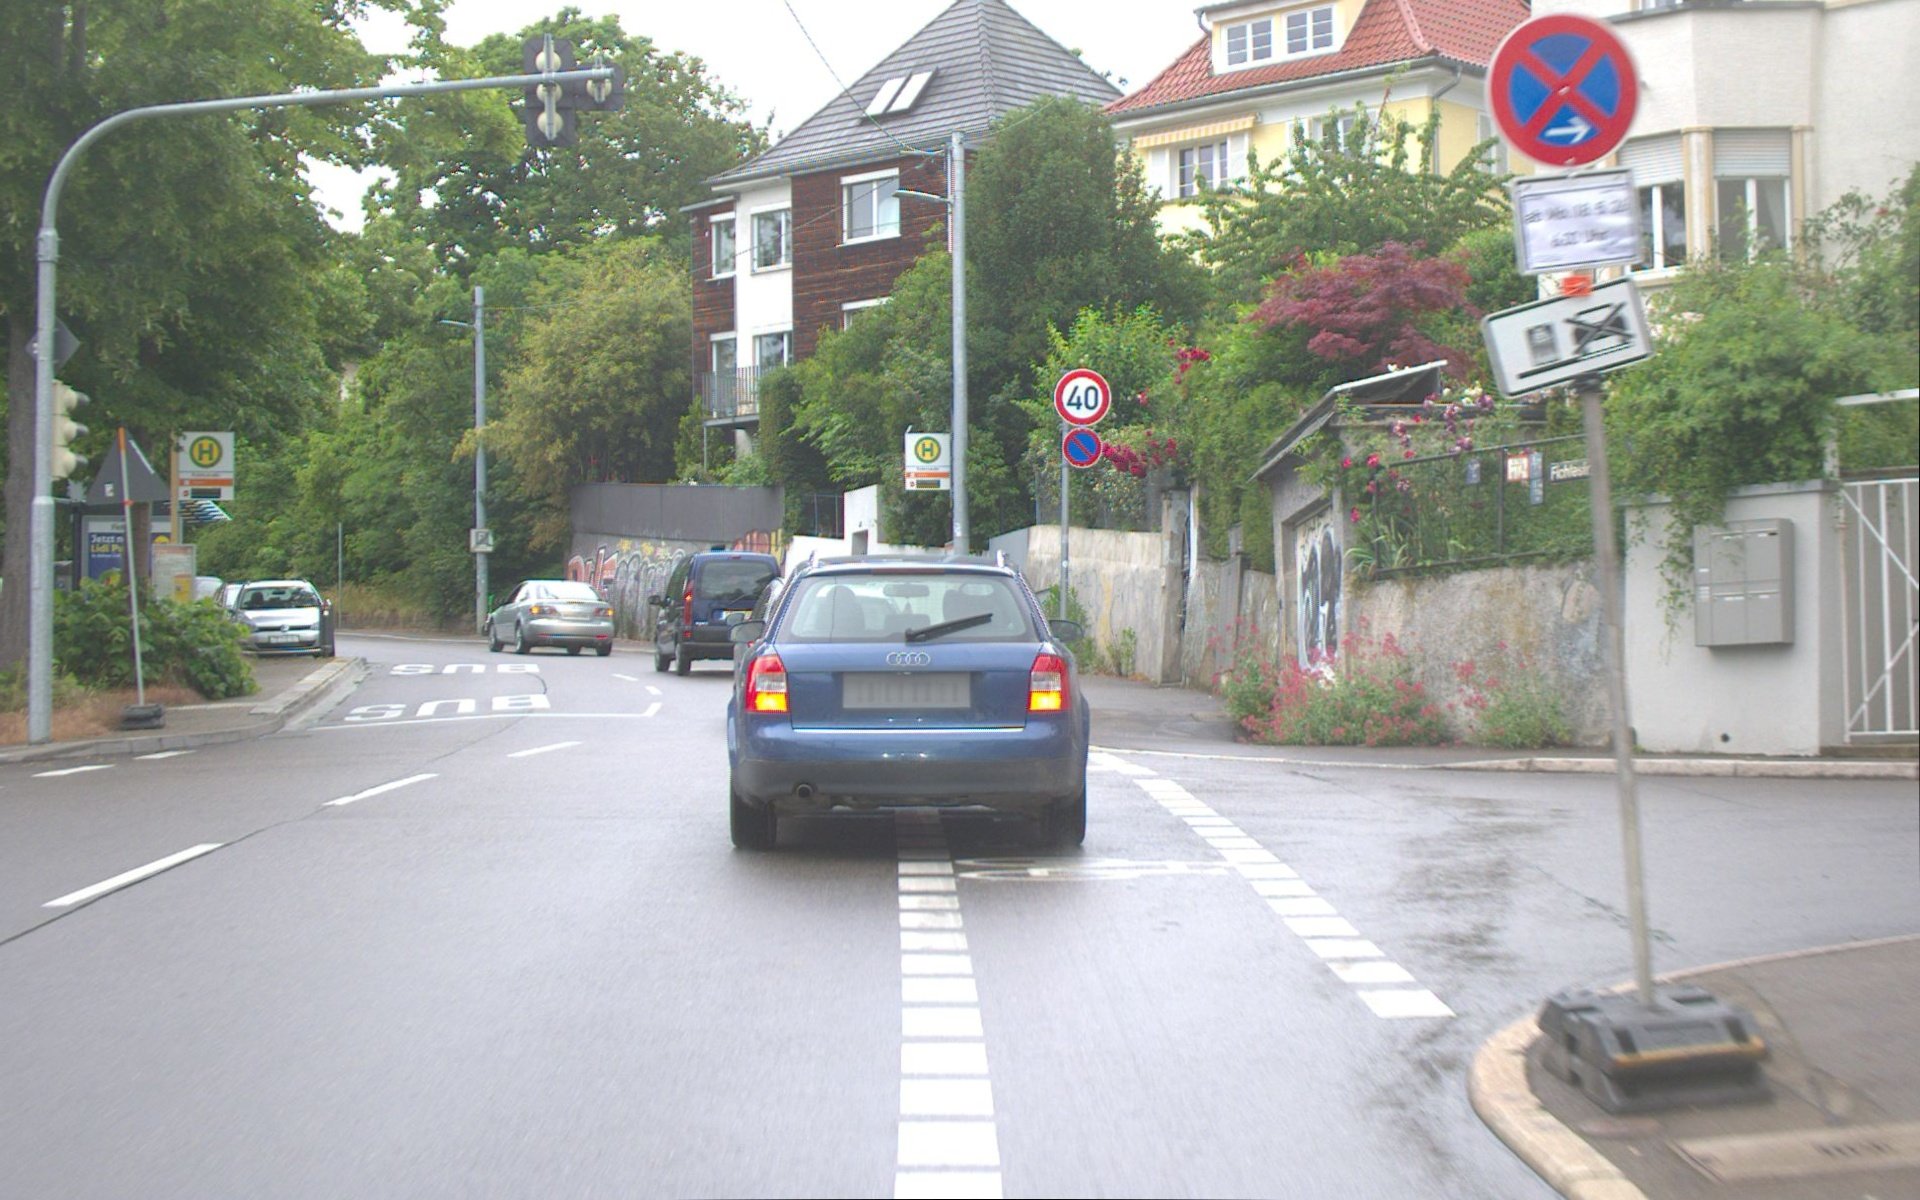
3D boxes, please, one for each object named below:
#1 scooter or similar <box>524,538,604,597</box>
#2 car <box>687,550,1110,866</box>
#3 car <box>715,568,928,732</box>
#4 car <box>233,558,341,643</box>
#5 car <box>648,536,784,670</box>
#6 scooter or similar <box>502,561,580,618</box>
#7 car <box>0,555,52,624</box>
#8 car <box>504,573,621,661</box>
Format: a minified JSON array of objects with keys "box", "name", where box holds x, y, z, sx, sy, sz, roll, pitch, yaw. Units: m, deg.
[{"box":[-9.947,-0.802,86.336,1.833,1.310,0.600,5,-3,-13],"name":"scooter or similar"},{"box":[-0.199,0.466,17.687,1.777,1.434,3.999,0,1,5],"name":"car"},{"box":[-1.393,0.443,33.823,1.908,1.383,4.351,2,1,-3],"name":"car"},{"box":[-12.063,-0.010,61.459,1.673,1.422,4.001,-2,1,-14],"name":"car"},{"box":[-3.700,0.008,51.577,1.730,1.888,4.056,-1,1,-8],"name":"car"},{"box":[-10.695,-0.267,87.783,1.833,1.310,0.600,5,-3,-13],"name":"scooter or similar"},{"box":[-25.219,-0.263,89.762,1.993,1.722,4.000,-2,1,-28],"name":"car"},{"box":[-7.616,0.294,65.593,1.765,1.564,4.031,-2,1,-13],"name":"car"}]
